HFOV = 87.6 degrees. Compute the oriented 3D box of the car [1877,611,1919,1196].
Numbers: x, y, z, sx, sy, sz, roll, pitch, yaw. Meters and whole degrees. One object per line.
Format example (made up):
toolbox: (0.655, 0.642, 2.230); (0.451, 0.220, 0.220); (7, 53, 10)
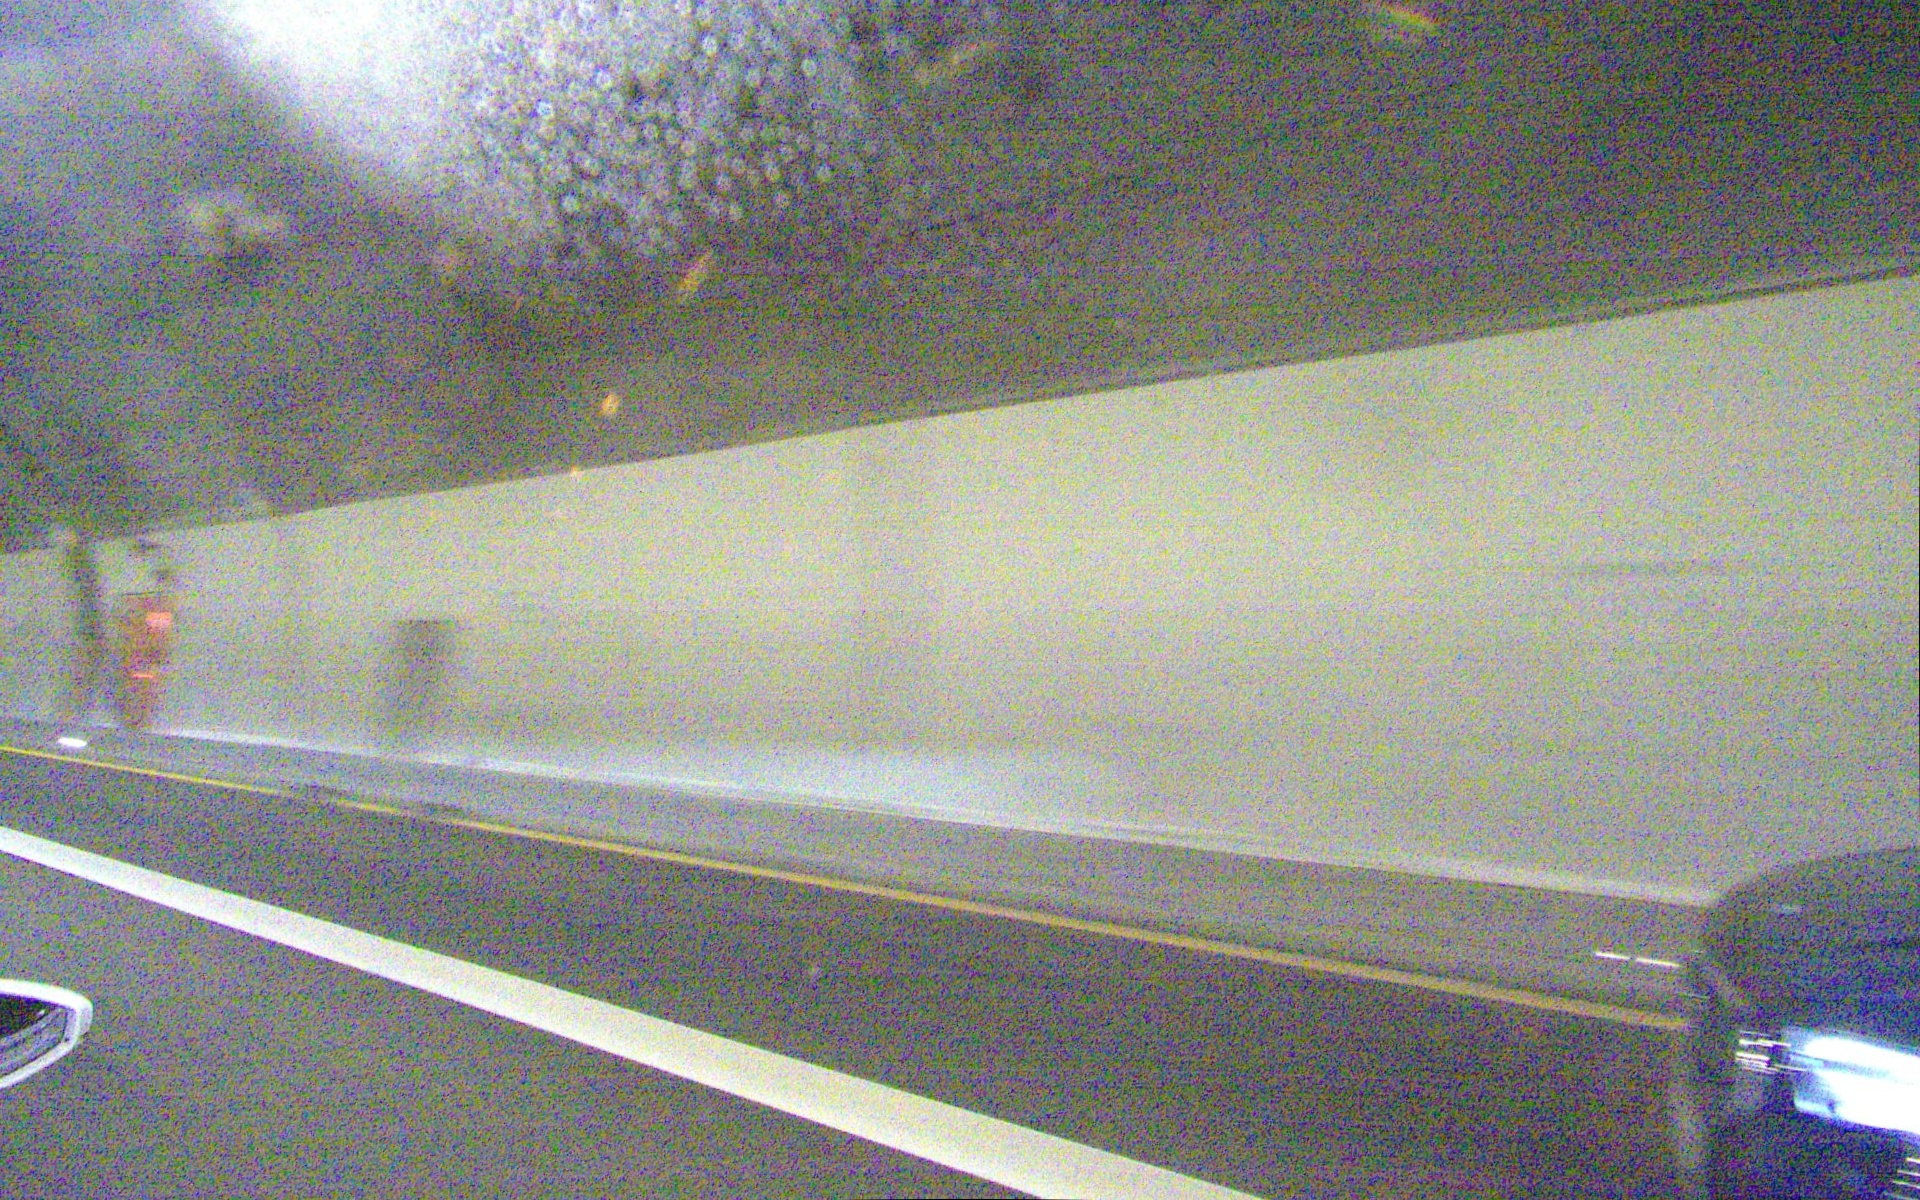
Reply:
car: (4.181, 0.716, 0.735); (4.885, 1.491, 1.922); (-1, -2, 33)
